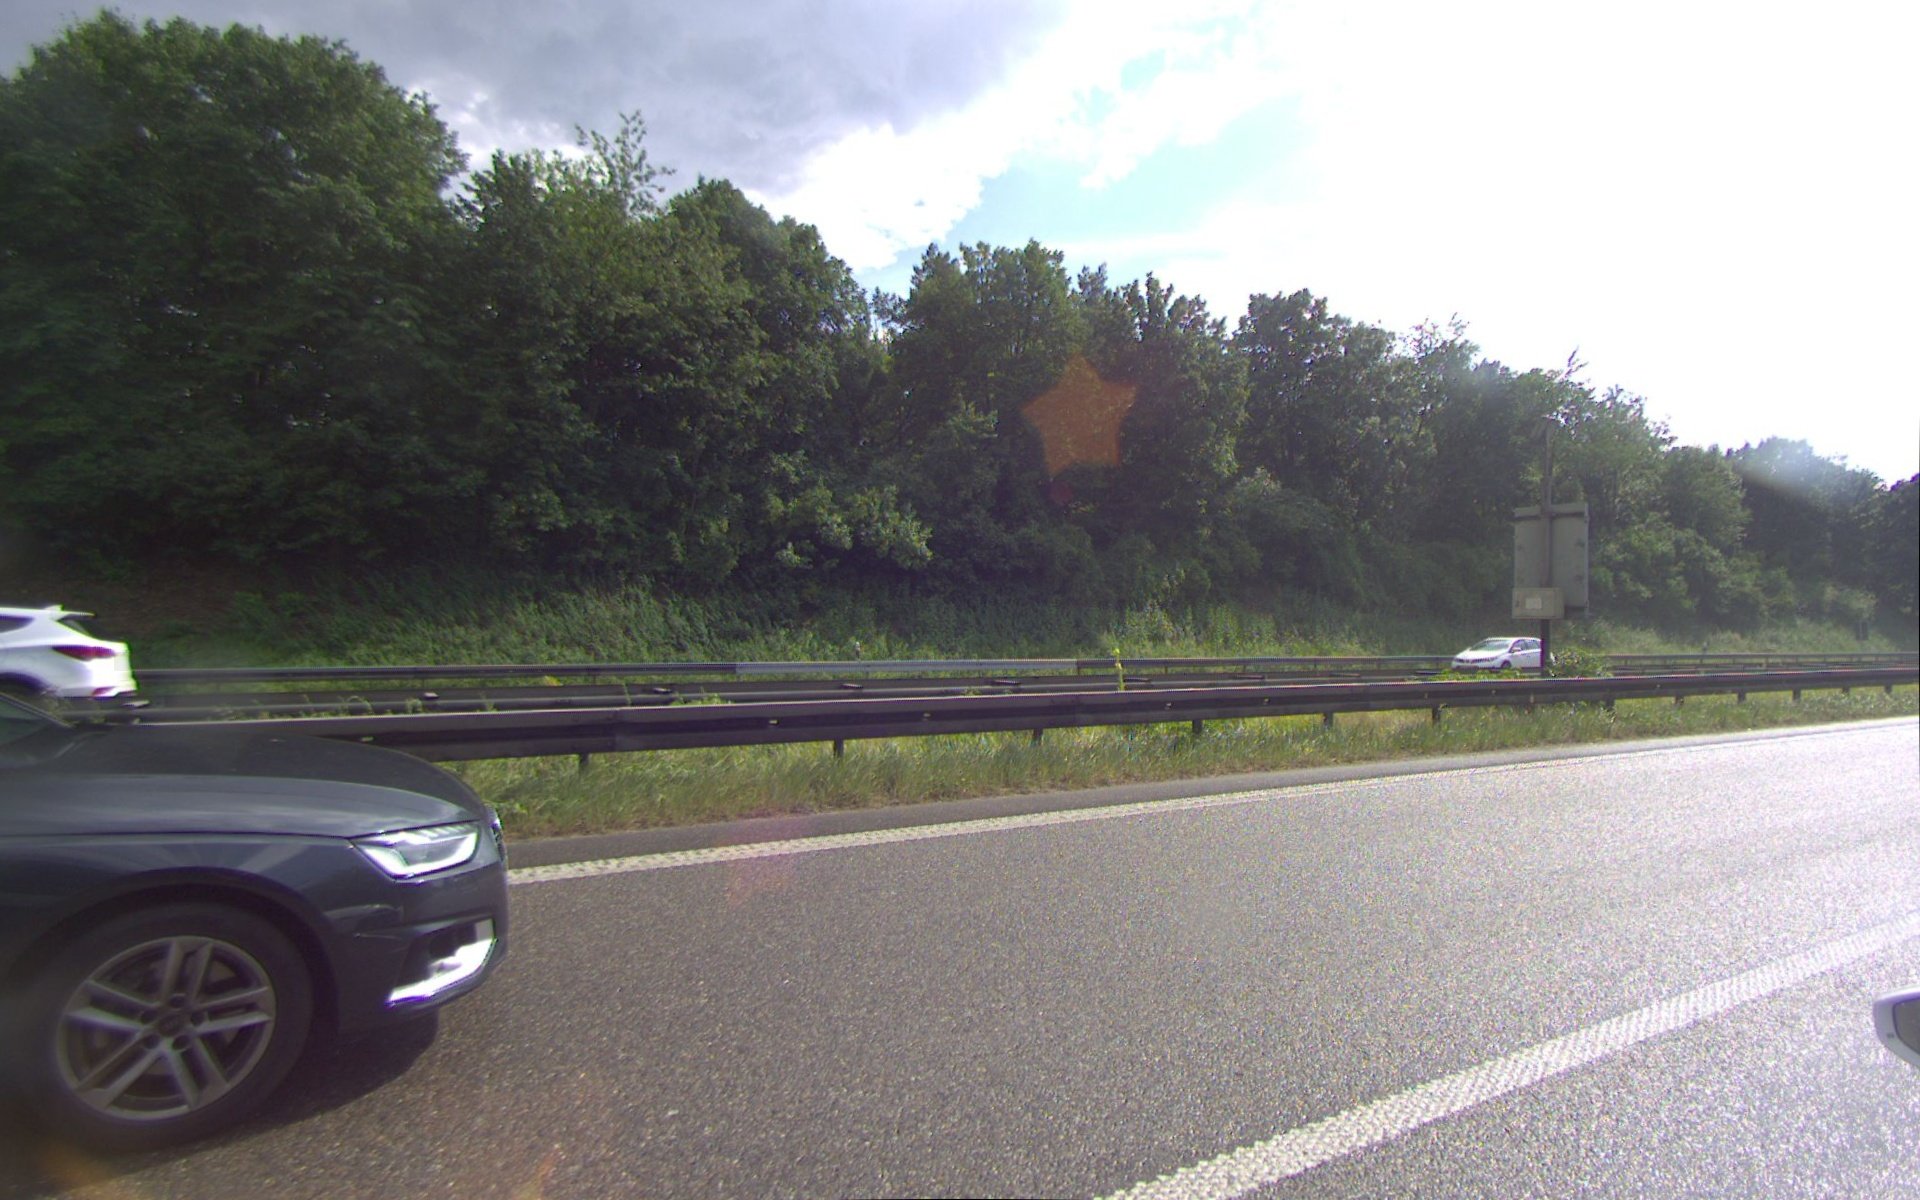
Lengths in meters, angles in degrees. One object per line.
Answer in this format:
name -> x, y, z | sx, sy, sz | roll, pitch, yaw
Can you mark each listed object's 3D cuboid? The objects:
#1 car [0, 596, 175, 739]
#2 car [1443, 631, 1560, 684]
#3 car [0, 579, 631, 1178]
car -> -12.804, 0.791, 12.381 | 4.644, 1.685, 2.006 | 2, 0, -31
car -> 19.113, 2.004, 35.429 | 4.188, 1.685, 1.722 | 2, 0, -31
car -> -3.544, 0.638, 2.718 | 4.782, 1.437, 1.786 | 2, 0, -30
